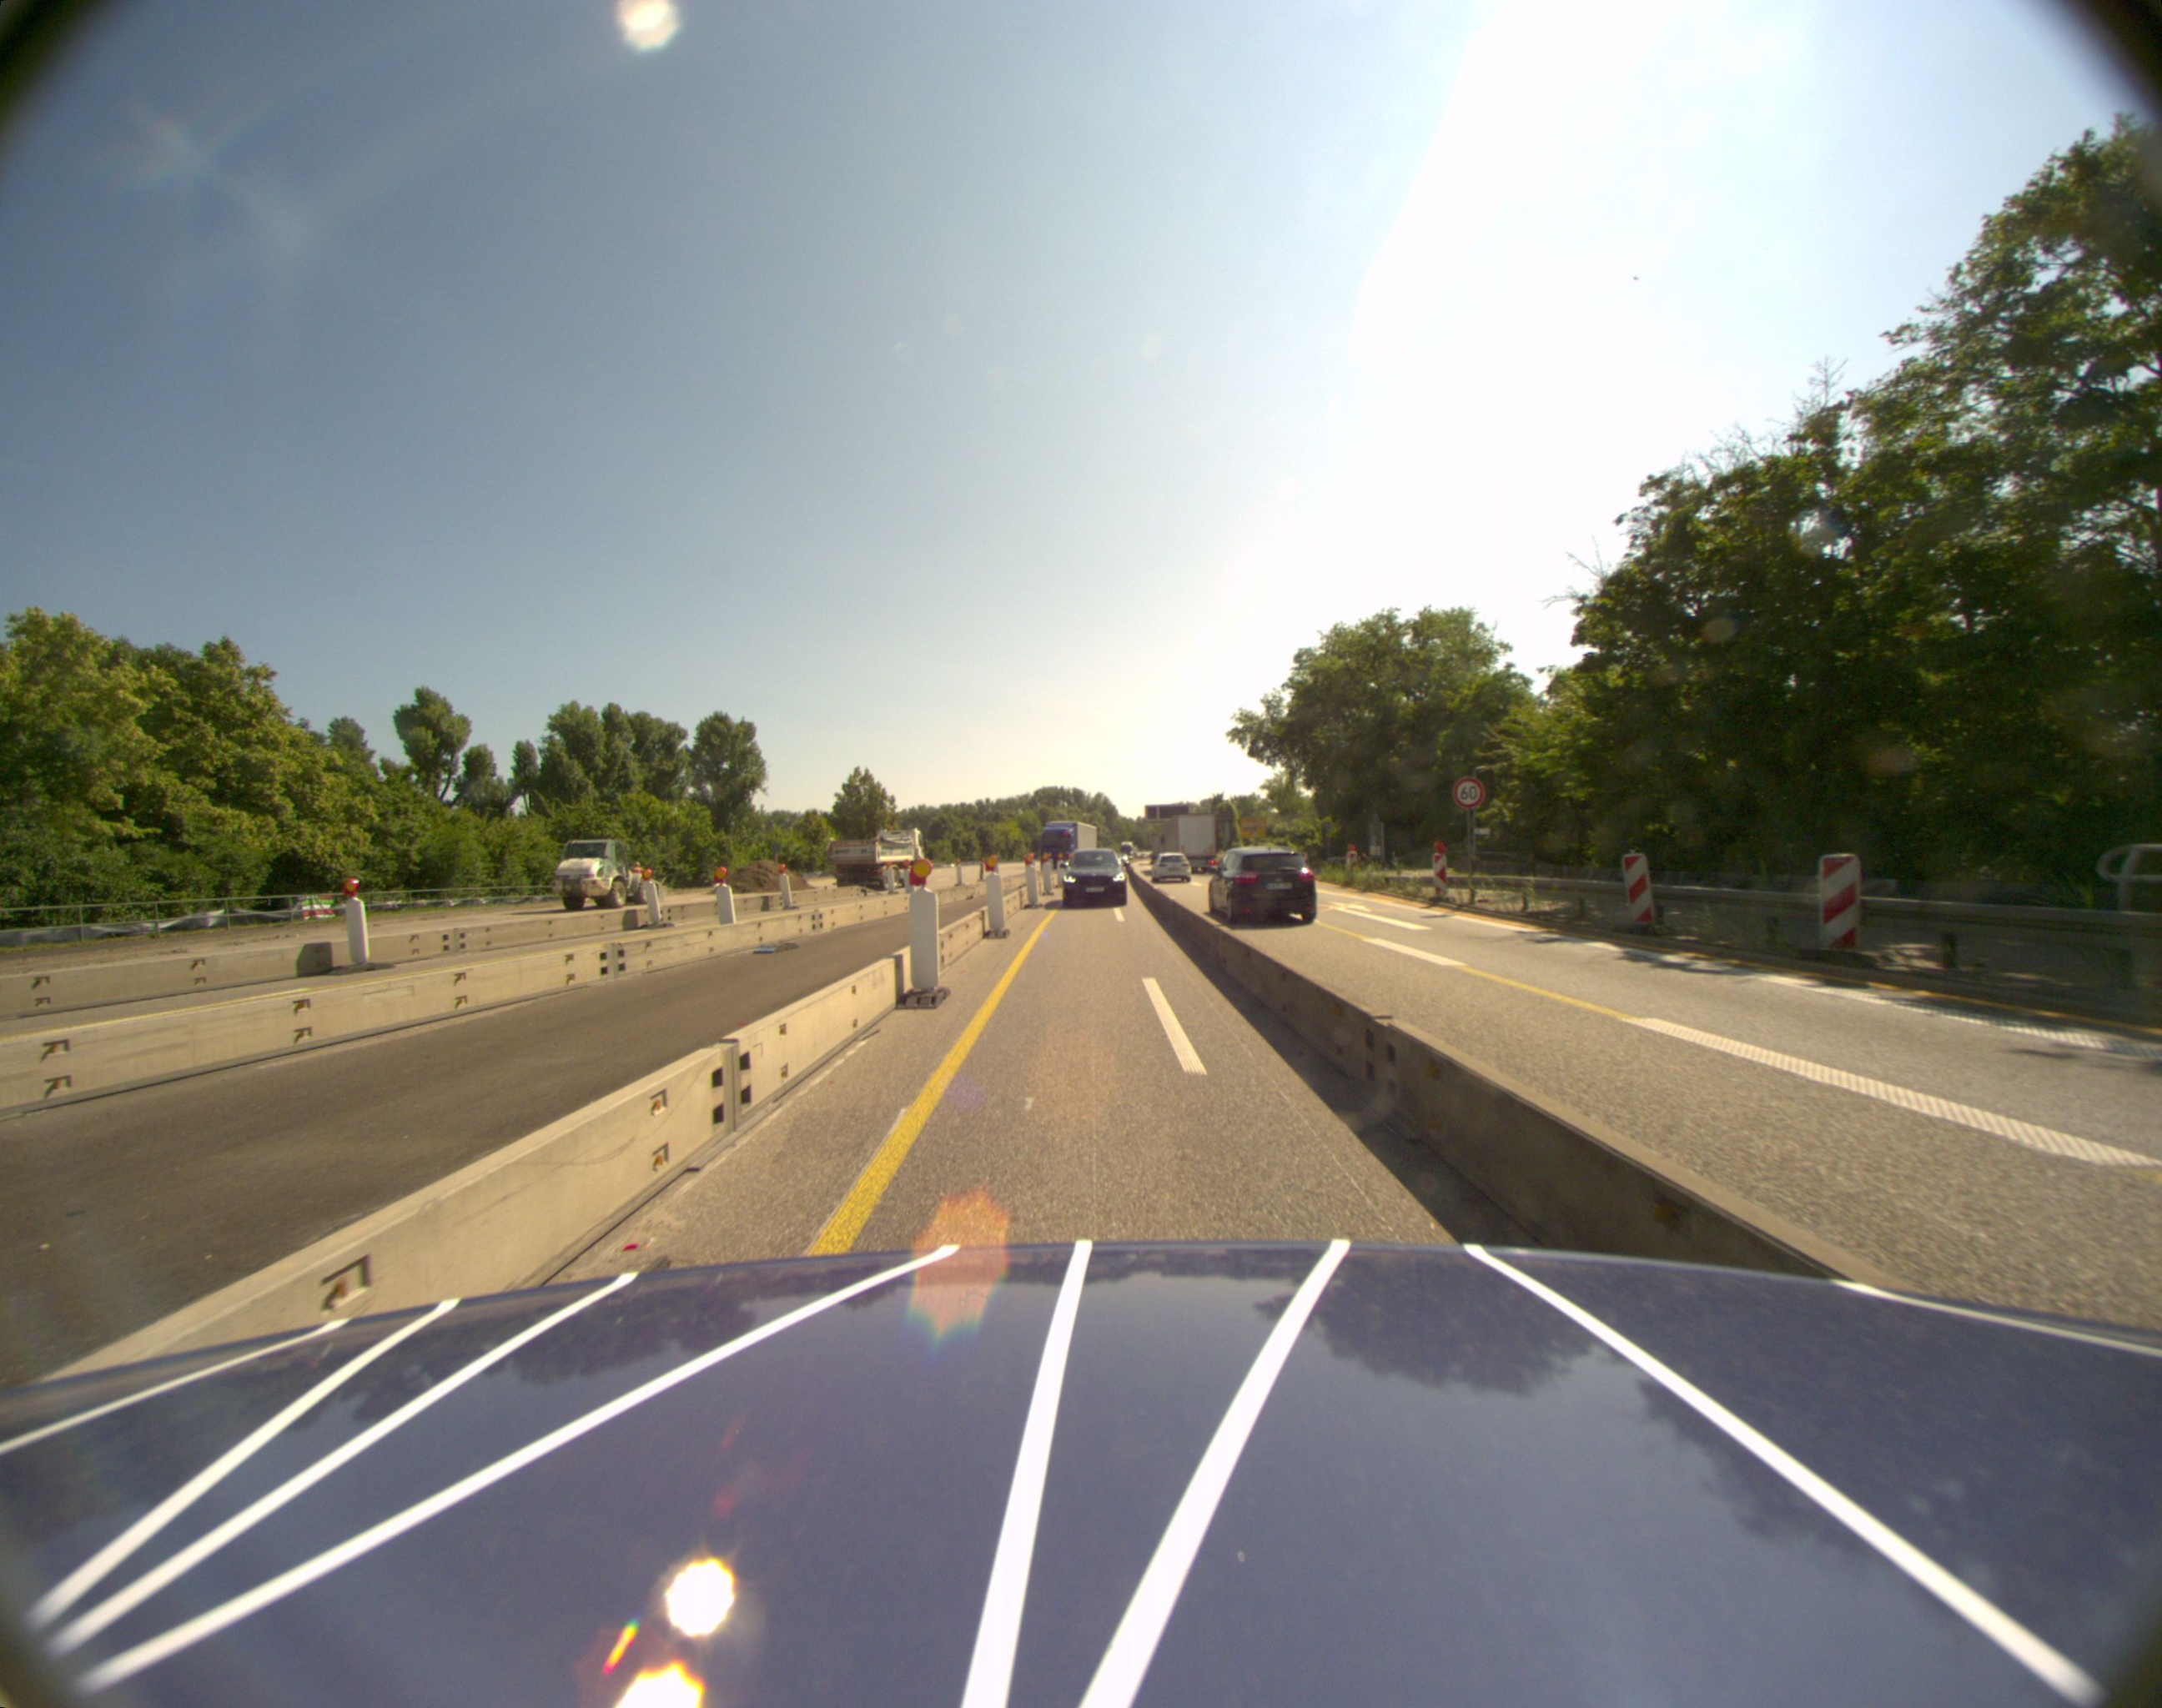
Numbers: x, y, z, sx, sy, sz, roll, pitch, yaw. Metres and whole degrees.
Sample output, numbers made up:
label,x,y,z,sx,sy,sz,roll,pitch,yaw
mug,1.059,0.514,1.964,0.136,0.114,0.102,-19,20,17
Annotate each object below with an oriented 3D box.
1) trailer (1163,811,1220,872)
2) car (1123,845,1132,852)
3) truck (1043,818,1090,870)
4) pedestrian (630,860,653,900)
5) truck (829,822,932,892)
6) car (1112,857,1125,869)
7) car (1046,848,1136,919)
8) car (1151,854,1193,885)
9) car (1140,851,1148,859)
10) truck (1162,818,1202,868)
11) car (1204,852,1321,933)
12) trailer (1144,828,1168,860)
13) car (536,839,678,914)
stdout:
label,x,y,z,sx,sy,sz,roll,pitch,yaw
trailer,8.031,-0.838,56.921,2.810,4.019,13.470,-1,0,3
car,10.396,-1.216,168.937,1.746,1.621,4.093,-1,1,5
truck,-1.083,-0.821,63.056,2.859,3.962,8.668,-1,1,5
pedestrian,-19.434,1.124,33.589,0.666,1.738,0.532,-2,1,-3
truck,-10.751,0.091,41.891,2.605,3.413,8.737,-1,1,5
car,5.159,1.209,104.712,1.747,1.621,4.093,-1,1,3
car,0.405,0.749,21.687,1.788,1.651,4.489,-4,1,10
car,4.542,0.722,38.366,1.818,1.409,4.154,-2,0,3
car,16.385,0.272,197.492,1.997,2.002,4.002,-1,1,8
truck,8.384,-0.870,63.758,2.821,3.967,5.986,-1,0,3
car,3.898,0.755,16.956,1.742,1.543,3.943,-2,0,2
trailer,10.278,-1.316,104.826,2.626,4.103,14.069,-1,1,3
car,-18.525,0.784,30.156,2.110,2.627,5.982,-1,1,-4
